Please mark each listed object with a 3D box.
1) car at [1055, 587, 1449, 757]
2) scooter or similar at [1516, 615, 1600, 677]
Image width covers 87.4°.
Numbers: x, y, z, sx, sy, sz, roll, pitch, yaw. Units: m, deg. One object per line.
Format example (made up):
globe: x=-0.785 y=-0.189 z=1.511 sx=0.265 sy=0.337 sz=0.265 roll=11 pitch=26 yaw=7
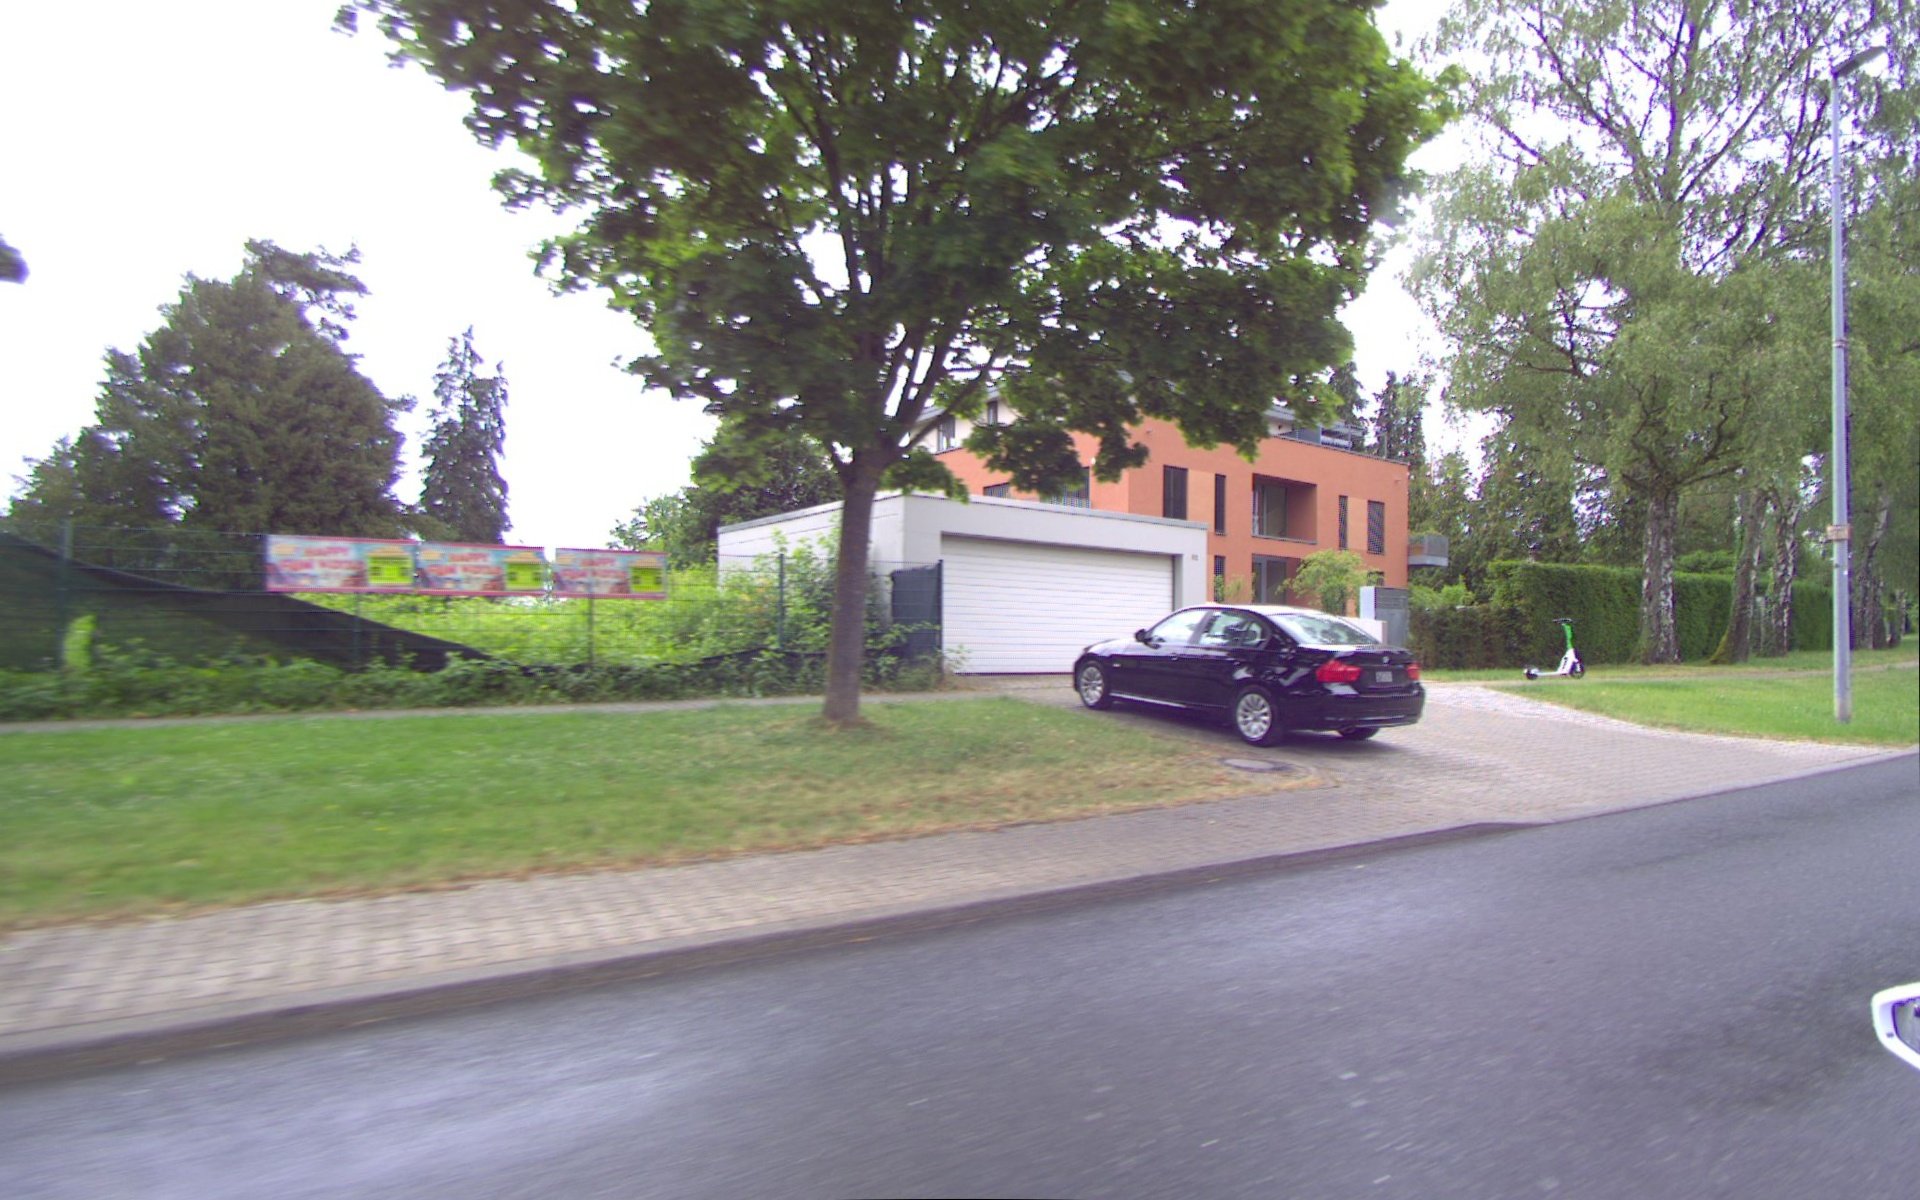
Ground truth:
car: x=3.120 y=0.669 z=11.719 sx=1.735 sy=1.436 sz=4.405 roll=1 pitch=2 yaw=-30
scooter or similar: x=11.485 y=0.876 z=19.297 sx=1.463 sy=1.174 sz=0.424 roll=0 pitch=1 yaw=-11
